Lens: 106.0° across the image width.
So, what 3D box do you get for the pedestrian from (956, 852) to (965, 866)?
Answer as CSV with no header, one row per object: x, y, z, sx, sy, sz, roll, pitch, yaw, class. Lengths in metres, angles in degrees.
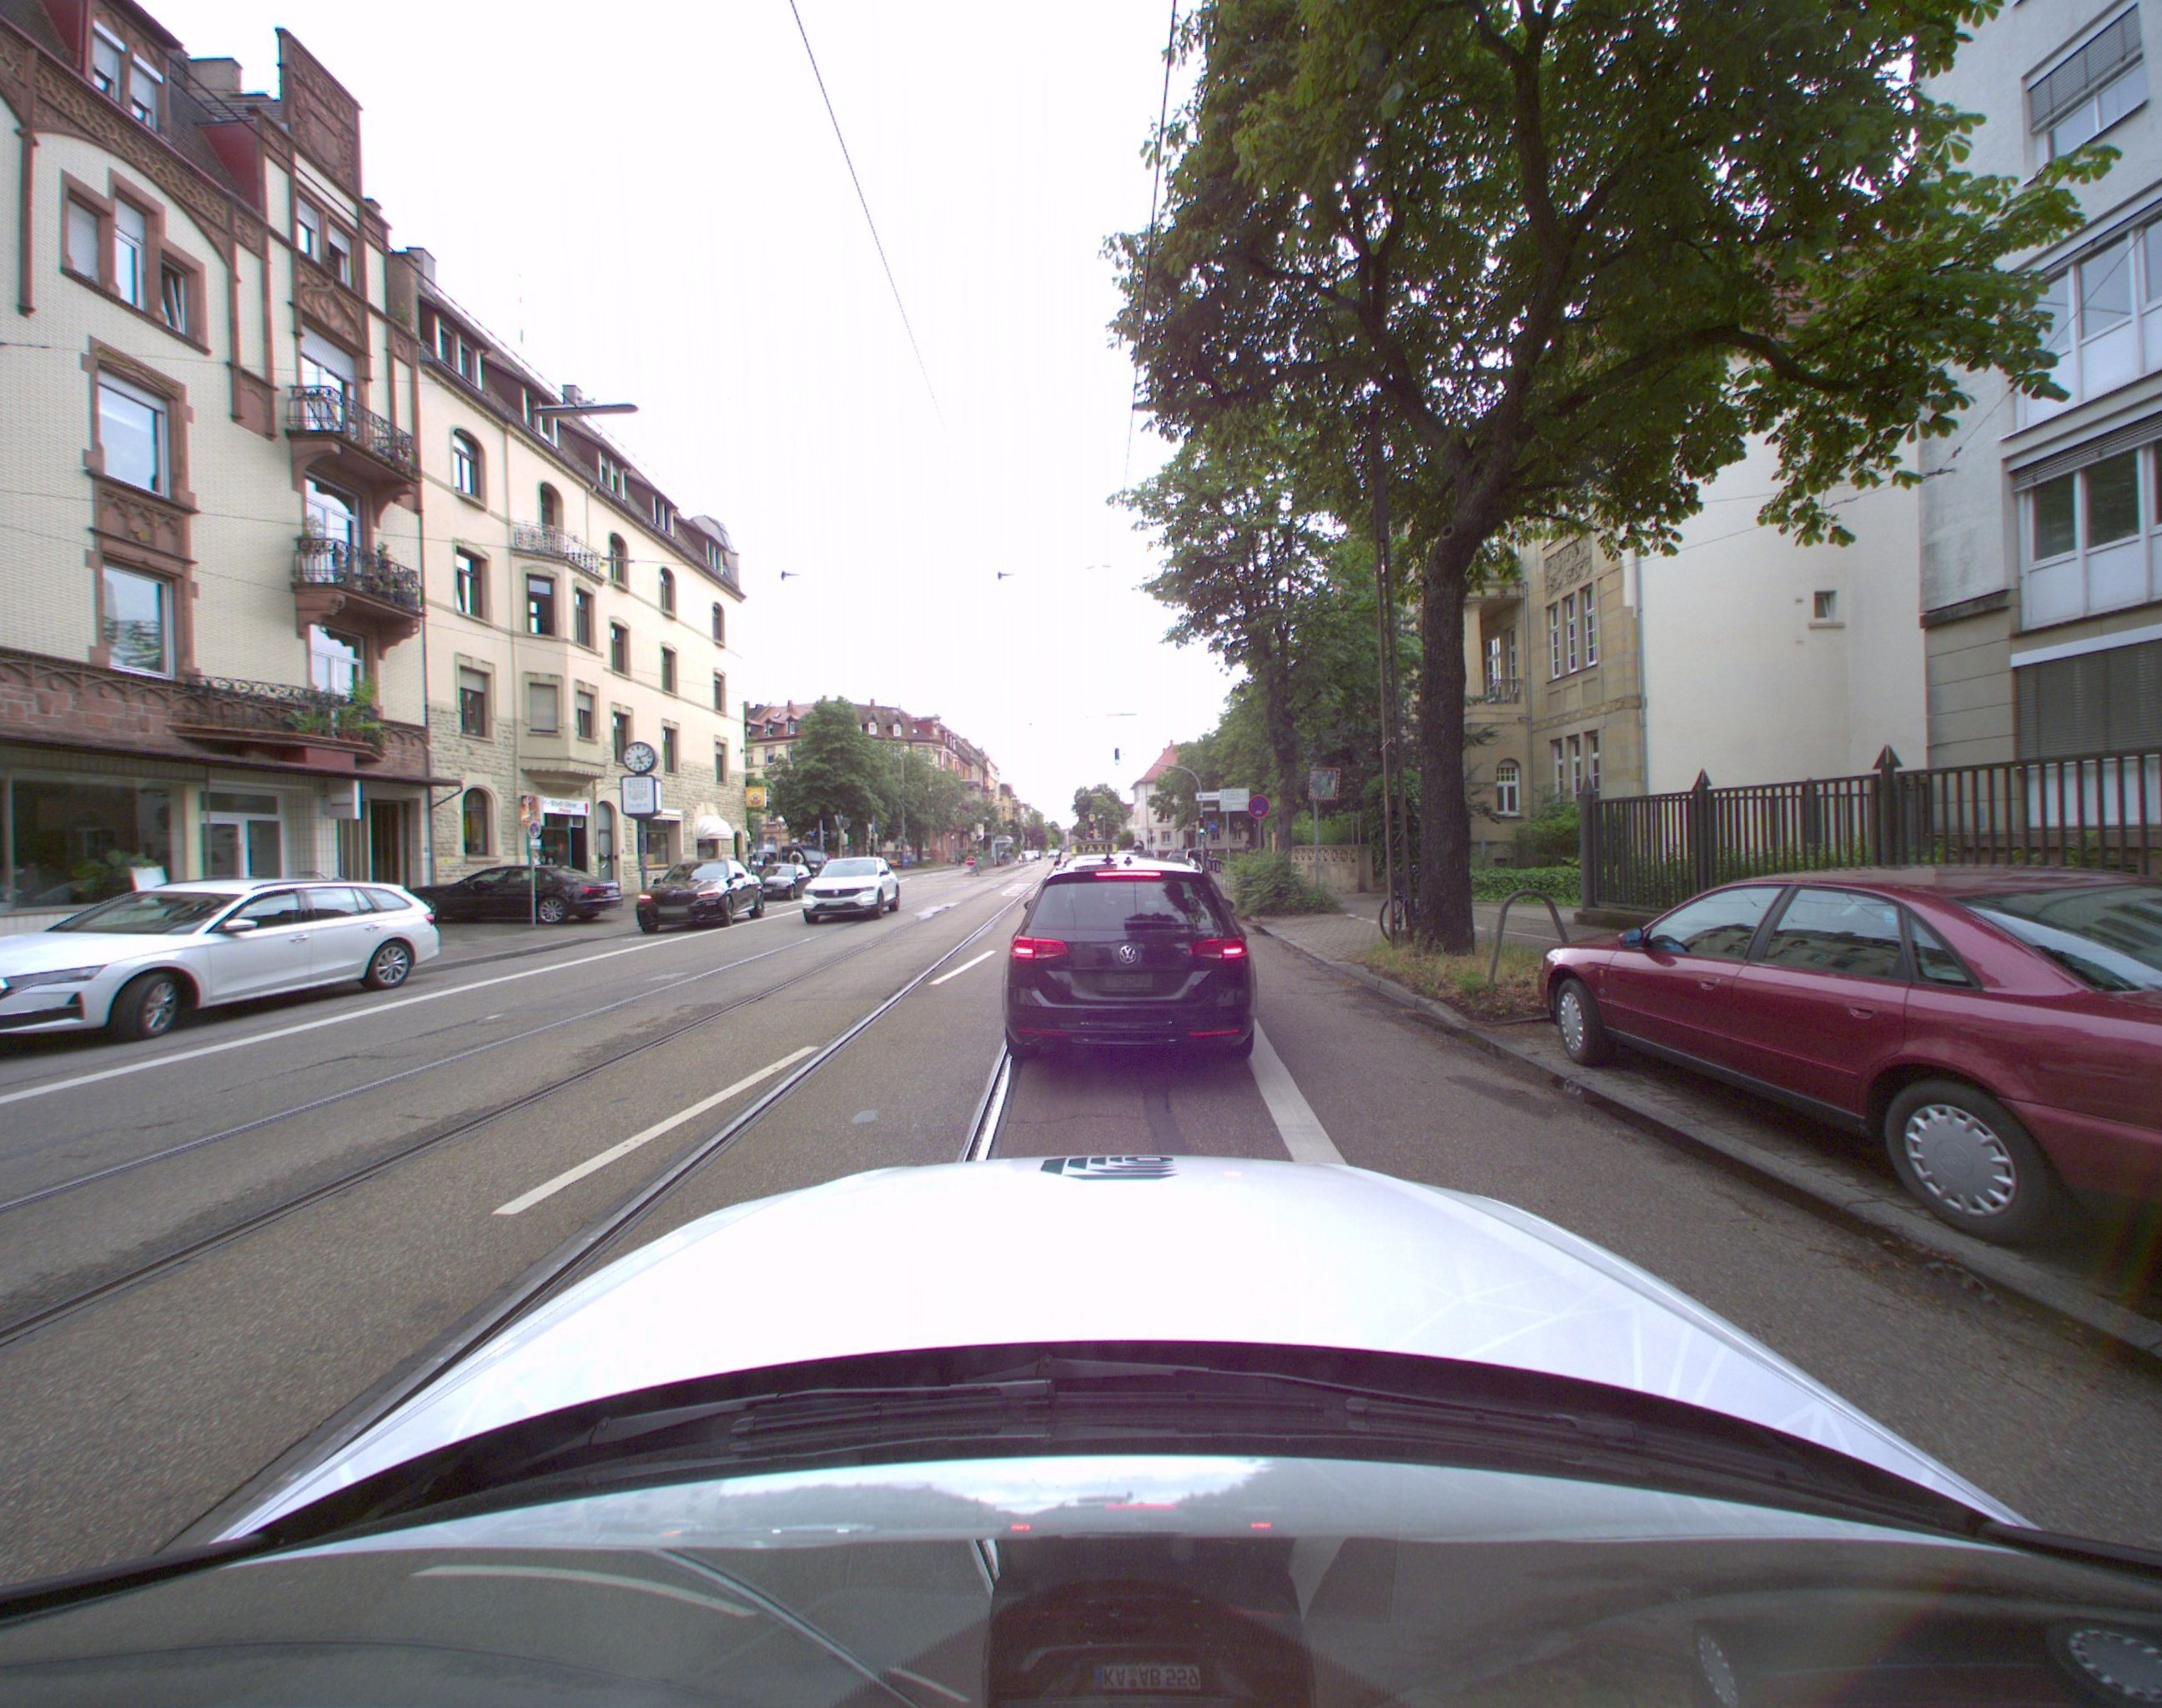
-13.757,0.592,92.963,0.582,1.520,0.653,-2,0,35,pedestrian

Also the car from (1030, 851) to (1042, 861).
-7.023,0.268,127.539,1.715,1.464,3.862,-2,0,0,car

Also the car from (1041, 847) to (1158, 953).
0.286,0.673,14.164,1.718,1.546,4.000,-1,0,0,car

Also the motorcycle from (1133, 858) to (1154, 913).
1.481,0.724,19.484,0.444,1.235,1.908,-2,0,3,motorcycle

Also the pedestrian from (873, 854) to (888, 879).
-13.546,0.855,55.057,0.833,1.663,0.591,-2,0,1,pedestrian

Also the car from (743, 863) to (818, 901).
-12.166,1.089,33.208,1.644,1.361,4.126,1,0,-2,car

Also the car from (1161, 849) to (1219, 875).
6.540,0.462,48.495,1.873,1.408,4.026,-2,0,31,car

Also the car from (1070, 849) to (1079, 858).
-1.561,-0.118,187.743,2.026,2.014,3.999,0,0,0,car

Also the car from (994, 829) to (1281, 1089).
0.358,0.628,6.950,1.718,1.546,4.000,-1,0,0,car

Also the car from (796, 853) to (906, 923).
-5.685,0.769,20.589,1.694,1.496,3.928,-3,0,-2,car

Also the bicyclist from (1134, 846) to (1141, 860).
6.567,-0.114,94.437,0.648,1.568,0.697,-2,0,7,bicyclist

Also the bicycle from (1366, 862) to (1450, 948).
4.914,0.720,12.179,1.915,1.198,0.428,0,-1,-45,bicycle

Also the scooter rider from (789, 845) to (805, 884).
-14.747,0.529,42.286,0.645,2.013,0.752,-2,0,-24,scooter rider

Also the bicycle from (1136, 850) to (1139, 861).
6.568,0.146,94.429,0.295,1.223,1.433,-2,0,8,bicycle

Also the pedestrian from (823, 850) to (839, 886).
-12.897,0.721,41.986,0.621,1.842,0.609,-2,0,-2,pedestrian

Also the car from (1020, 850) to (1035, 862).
-7.335,0.276,112.481,1.715,1.622,3.863,-2,0,0,car

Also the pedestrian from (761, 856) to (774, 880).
-22.941,1.027,59.583,0.703,1.715,0.546,-2,0,-40,pedestrian

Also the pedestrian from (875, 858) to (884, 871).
-17.726,0.917,71.565,0.591,1.168,0.837,-2,0,-29,pedestrian

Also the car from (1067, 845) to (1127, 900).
0.481,0.532,25.588,1.718,1.546,4.000,-1,0,0,car

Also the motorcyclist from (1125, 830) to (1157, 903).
1.429,0.291,19.467,0.700,1.692,0.805,-2,0,3,motorcyclist

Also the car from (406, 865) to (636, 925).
-14.137,1.019,20.790,4.417,1.370,1.877,1,0,-5,car

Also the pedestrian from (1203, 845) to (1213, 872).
8.645,0.317,55.552,0.510,1.831,0.420,-5,0,16,pedestrian

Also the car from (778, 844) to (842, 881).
-18.697,0.570,56.056,2.198,2.417,5.315,-2,0,-42,car

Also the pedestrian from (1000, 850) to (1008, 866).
-7.471,0.428,78.889,0.711,1.520,0.590,-2,0,1,pedestrian

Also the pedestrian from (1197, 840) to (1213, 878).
6.124,0.236,40.198,0.583,1.831,0.604,-5,0,1,pedestrian

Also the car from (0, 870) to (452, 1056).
-9.867,1.005,9.323,1.742,1.484,4.607,-2,0,-1,car

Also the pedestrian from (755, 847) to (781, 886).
-16.659,0.674,43.354,0.971,2.013,0.835,-2,0,0,pedestrian

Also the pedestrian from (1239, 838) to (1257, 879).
7.534,0.218,36.784,0.630,1.815,0.725,-2,0,-2,pedestrian

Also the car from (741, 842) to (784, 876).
-25.167,0.412,64.271,2.193,2.527,5.326,-2,0,-32,car

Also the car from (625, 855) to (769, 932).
-9.616,0.901,20.859,1.882,1.611,4.873,-4,0,-8,car

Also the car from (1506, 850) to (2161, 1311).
4.271,0.727,4.496,1.597,1.399,4.227,-3,0,0,car

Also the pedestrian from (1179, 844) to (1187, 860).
10.205,-0.183,81.506,0.612,1.553,0.576,-1,0,-39,pedestrian

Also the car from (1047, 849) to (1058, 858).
-5.646,-0.087,163.373,1.788,1.596,4.003,-2,0,3,car
